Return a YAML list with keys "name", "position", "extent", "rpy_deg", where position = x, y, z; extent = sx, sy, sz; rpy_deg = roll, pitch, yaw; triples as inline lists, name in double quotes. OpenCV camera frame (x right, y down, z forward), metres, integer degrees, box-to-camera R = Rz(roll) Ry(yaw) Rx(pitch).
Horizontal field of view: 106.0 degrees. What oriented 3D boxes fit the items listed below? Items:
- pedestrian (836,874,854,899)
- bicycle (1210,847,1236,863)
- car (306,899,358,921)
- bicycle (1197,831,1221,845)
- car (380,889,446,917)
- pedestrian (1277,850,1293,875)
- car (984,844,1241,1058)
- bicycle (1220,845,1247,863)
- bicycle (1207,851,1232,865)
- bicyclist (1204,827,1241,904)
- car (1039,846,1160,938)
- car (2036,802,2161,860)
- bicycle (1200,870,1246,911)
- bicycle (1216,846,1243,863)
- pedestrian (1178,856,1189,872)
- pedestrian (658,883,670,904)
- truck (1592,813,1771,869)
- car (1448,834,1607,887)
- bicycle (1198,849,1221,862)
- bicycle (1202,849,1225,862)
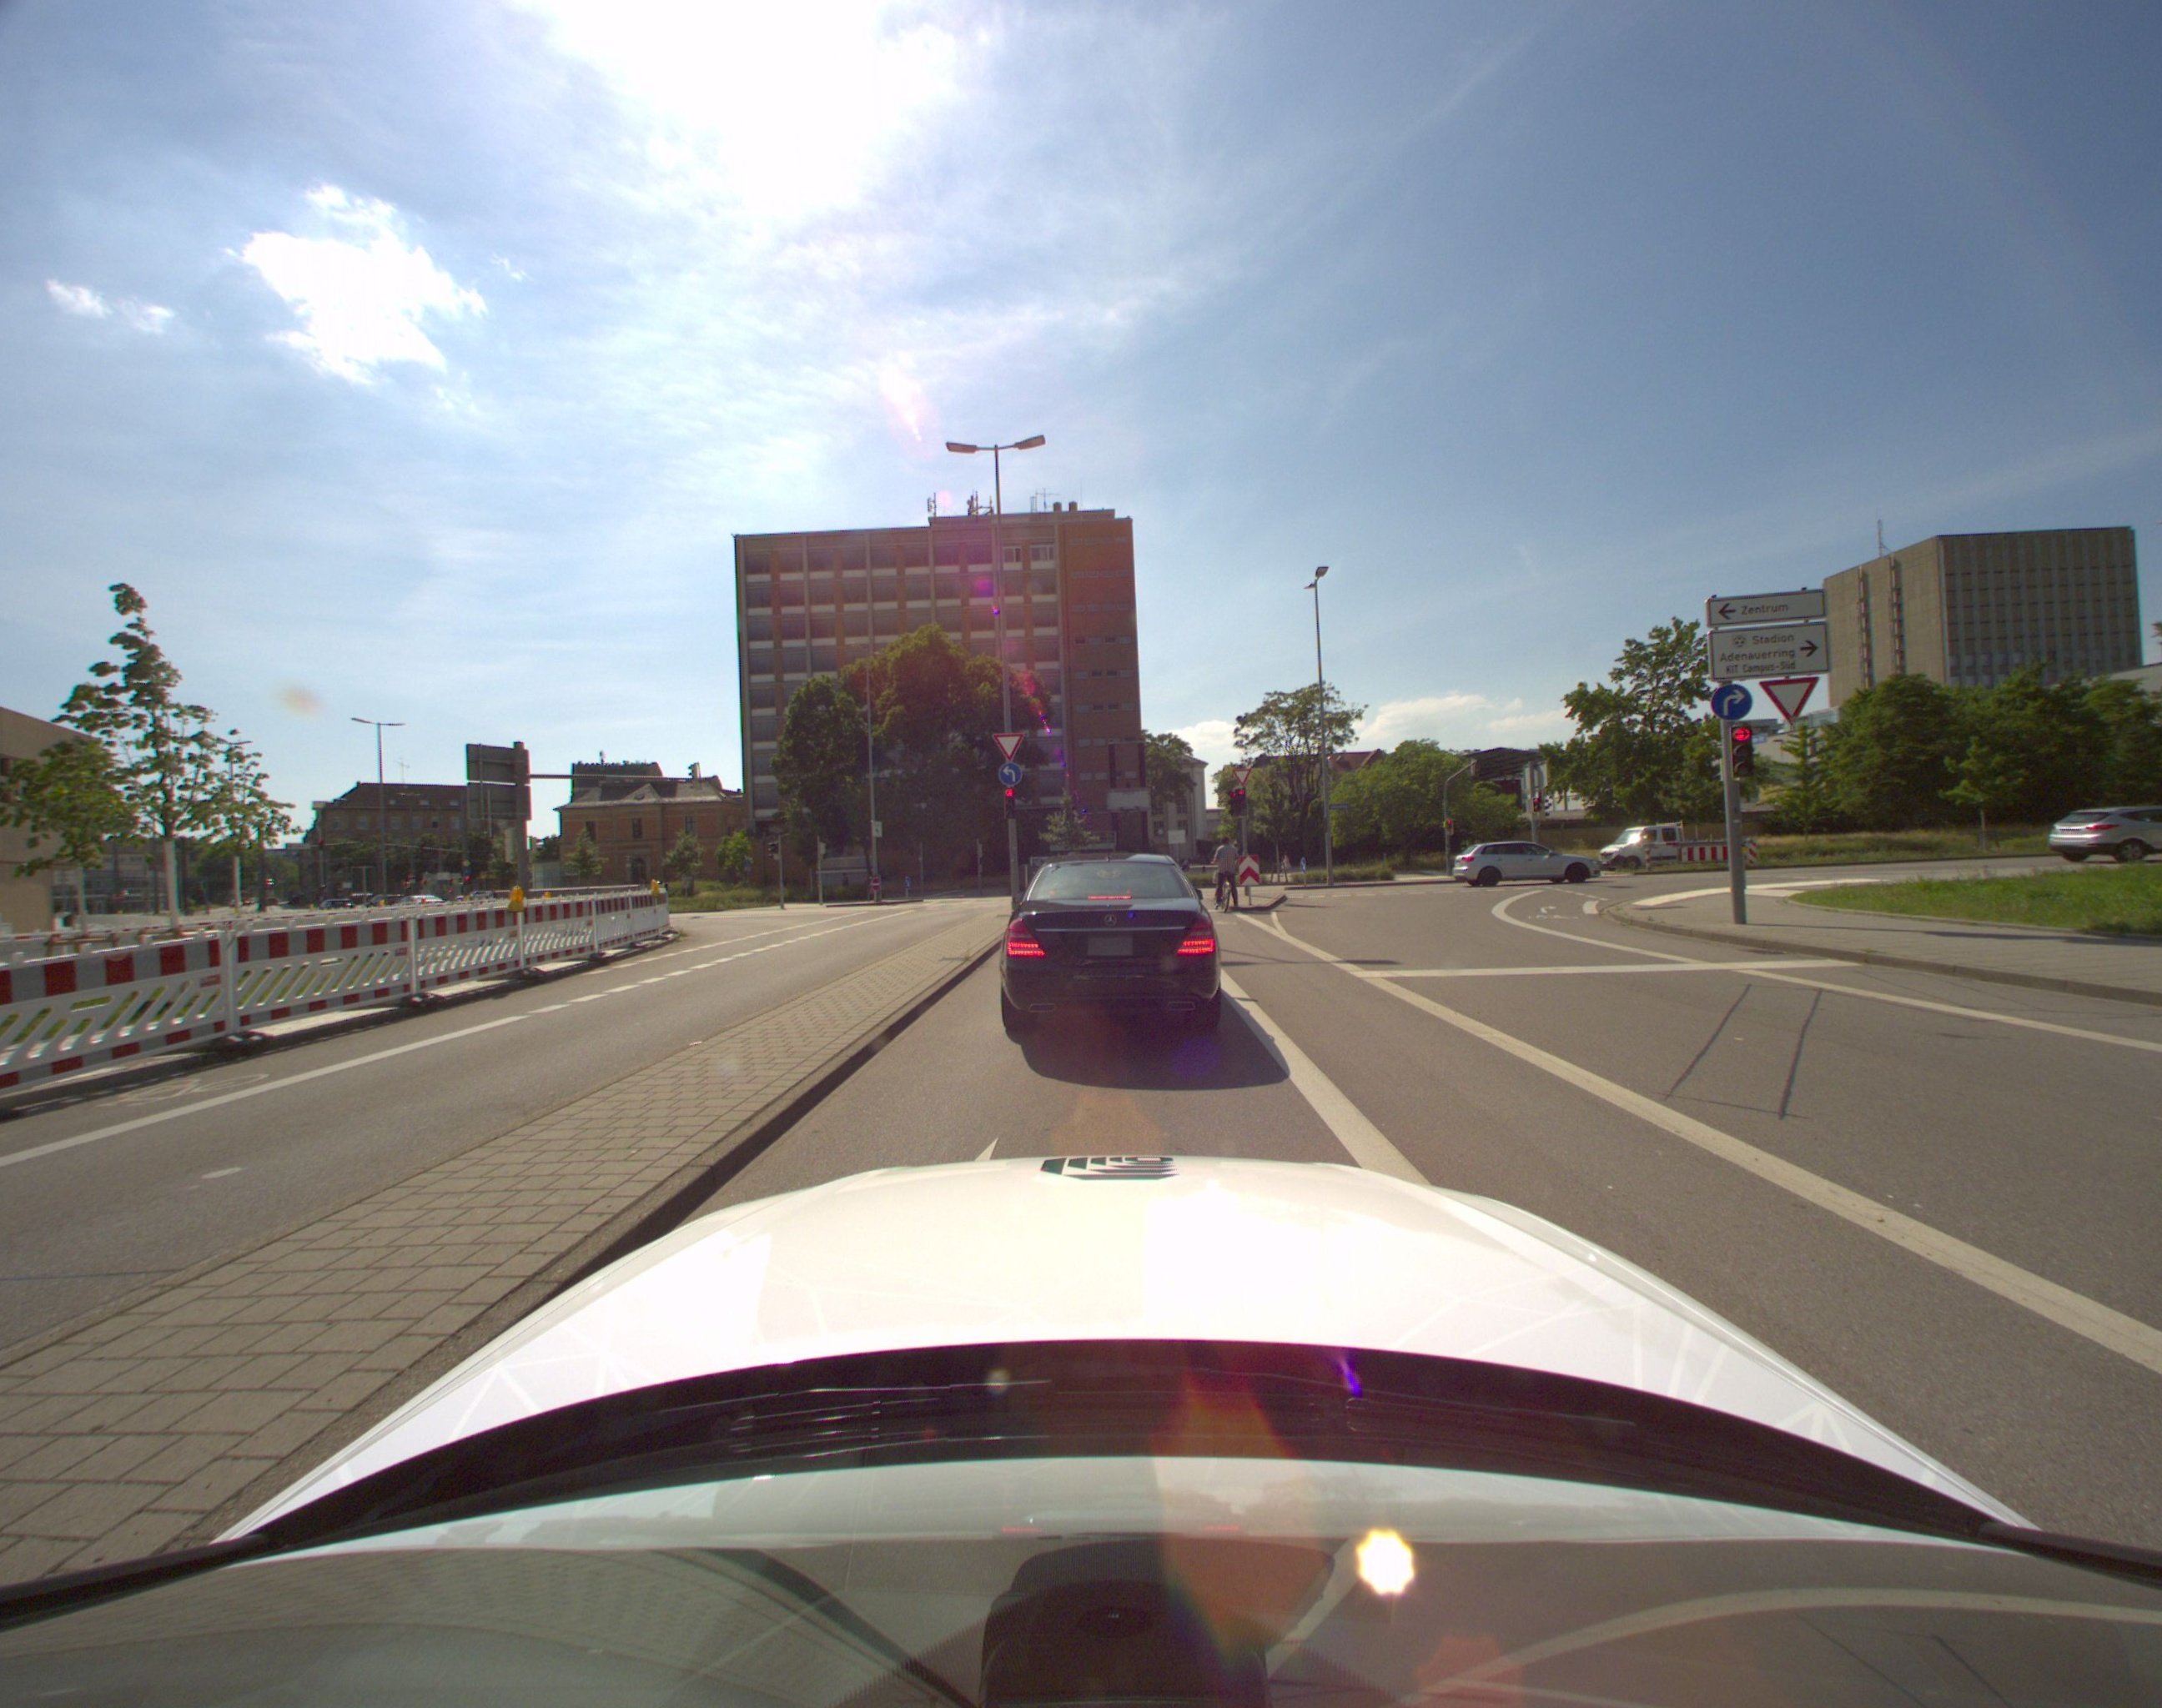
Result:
- name: "pedestrian"
  position: [-16.901, 2.317, 58.393]
  extent: [0.790, 1.725, 0.878]
  rpy_deg: [-3, -1, 24]
- name: "bicycle"
  position: [16.756, 0.133, 96.120]
  extent: [2.813, 1.659, 0.842]
  rpy_deg: [-3, 1, 1]
- name: "car"
  position: [-55.581, 4.157, 60.399]
  extent: [3.948, 1.510, 1.811]
  rpy_deg: [-3, -1, 32]
- name: "bicycle"
  position: [16.016, -2.026, 102.131]
  extent: [2.813, 1.559, 0.842]
  rpy_deg: [-3, 0, 1]
- name: "car"
  position: [-48.025, 3.519, 58.553]
  extent: [3.951, 1.816, 2.011]
  rpy_deg: [-3, -1, 24]
- name: "pedestrian"
  position: [12.938, 0.533, 51.752]
  extent: [0.807, 1.579, 0.693]
  rpy_deg: [-3, -1, 3]
- name: "car"
  position: [0.224, 0.724, 8.302]
  extent: [1.853, 1.530, 4.712]
  rpy_deg: [-1, -1, 0]
- name: "bicycle"
  position: [17.097, 0.044, 91.305]
  extent: [2.813, 1.836, 0.842]
  rpy_deg: [-3, 0, 1]
- name: "bicycle"
  position: [16.732, 0.509, 98.178]
  extent: [2.813, 1.537, 0.842]
  rpy_deg: [-3, 0, 1]
- name: "bicyclist"
  position: [3.576, 0.288, 20.642]
  extent: [0.684, 1.878, 0.858]
  rpy_deg: [-1, -1, -5]
- name: "car"
  position: [0.370, 0.640, 15.492]
  extent: [1.986, 1.508, 4.001]
  rpy_deg: [0, -1, 2]
- name: "car"
  position: [32.269, -0.749, 24.600]
  extent: [4.174, 1.618, 1.718]
  rpy_deg: [-3, 0, 13]
- name: "bicycle"
  position: [3.586, 0.899, 20.666]
  extent: [0.691, 0.946, 1.955]
  rpy_deg: [0, -1, -4]
- name: "bicycle"
  position: [17.031, 0.063, 93.568]
  extent: [2.813, 1.744, 0.842]
  rpy_deg: [-3, 0, 1]
- name: "pedestrian"
  position: [8.035, 0.777, 63.779]
  extent: [0.788, 1.214, 0.759]
  rpy_deg: [-1, -1, 8]
- name: "pedestrian"
  position: [-34.274, 3.230, 66.910]
  extent: [0.642, 1.661, 0.654]
  rpy_deg: [-1, -1, 28]
- name: "truck"
  position: [29.995, -0.639, 40.875]
  extent: [6.997, 2.355, 2.415]
  rpy_deg: [-3, 0, 2]
- name: "car"
  position: [14.187, 0.211, 26.070]
  extent: [4.131, 1.420, 1.590]
  rpy_deg: [-3, 0, 12]
- name: "bicycle"
  position: [16.641, 0.231, 105.870]
  extent: [2.812, 1.480, 0.842]
  rpy_deg: [-3, 0, 2]
- name: "bicycle"
  position: [16.959, 0.237, 104.339]
  extent: [2.813, 1.500, 0.842]
  rpy_deg: [-3, 0, 1]
